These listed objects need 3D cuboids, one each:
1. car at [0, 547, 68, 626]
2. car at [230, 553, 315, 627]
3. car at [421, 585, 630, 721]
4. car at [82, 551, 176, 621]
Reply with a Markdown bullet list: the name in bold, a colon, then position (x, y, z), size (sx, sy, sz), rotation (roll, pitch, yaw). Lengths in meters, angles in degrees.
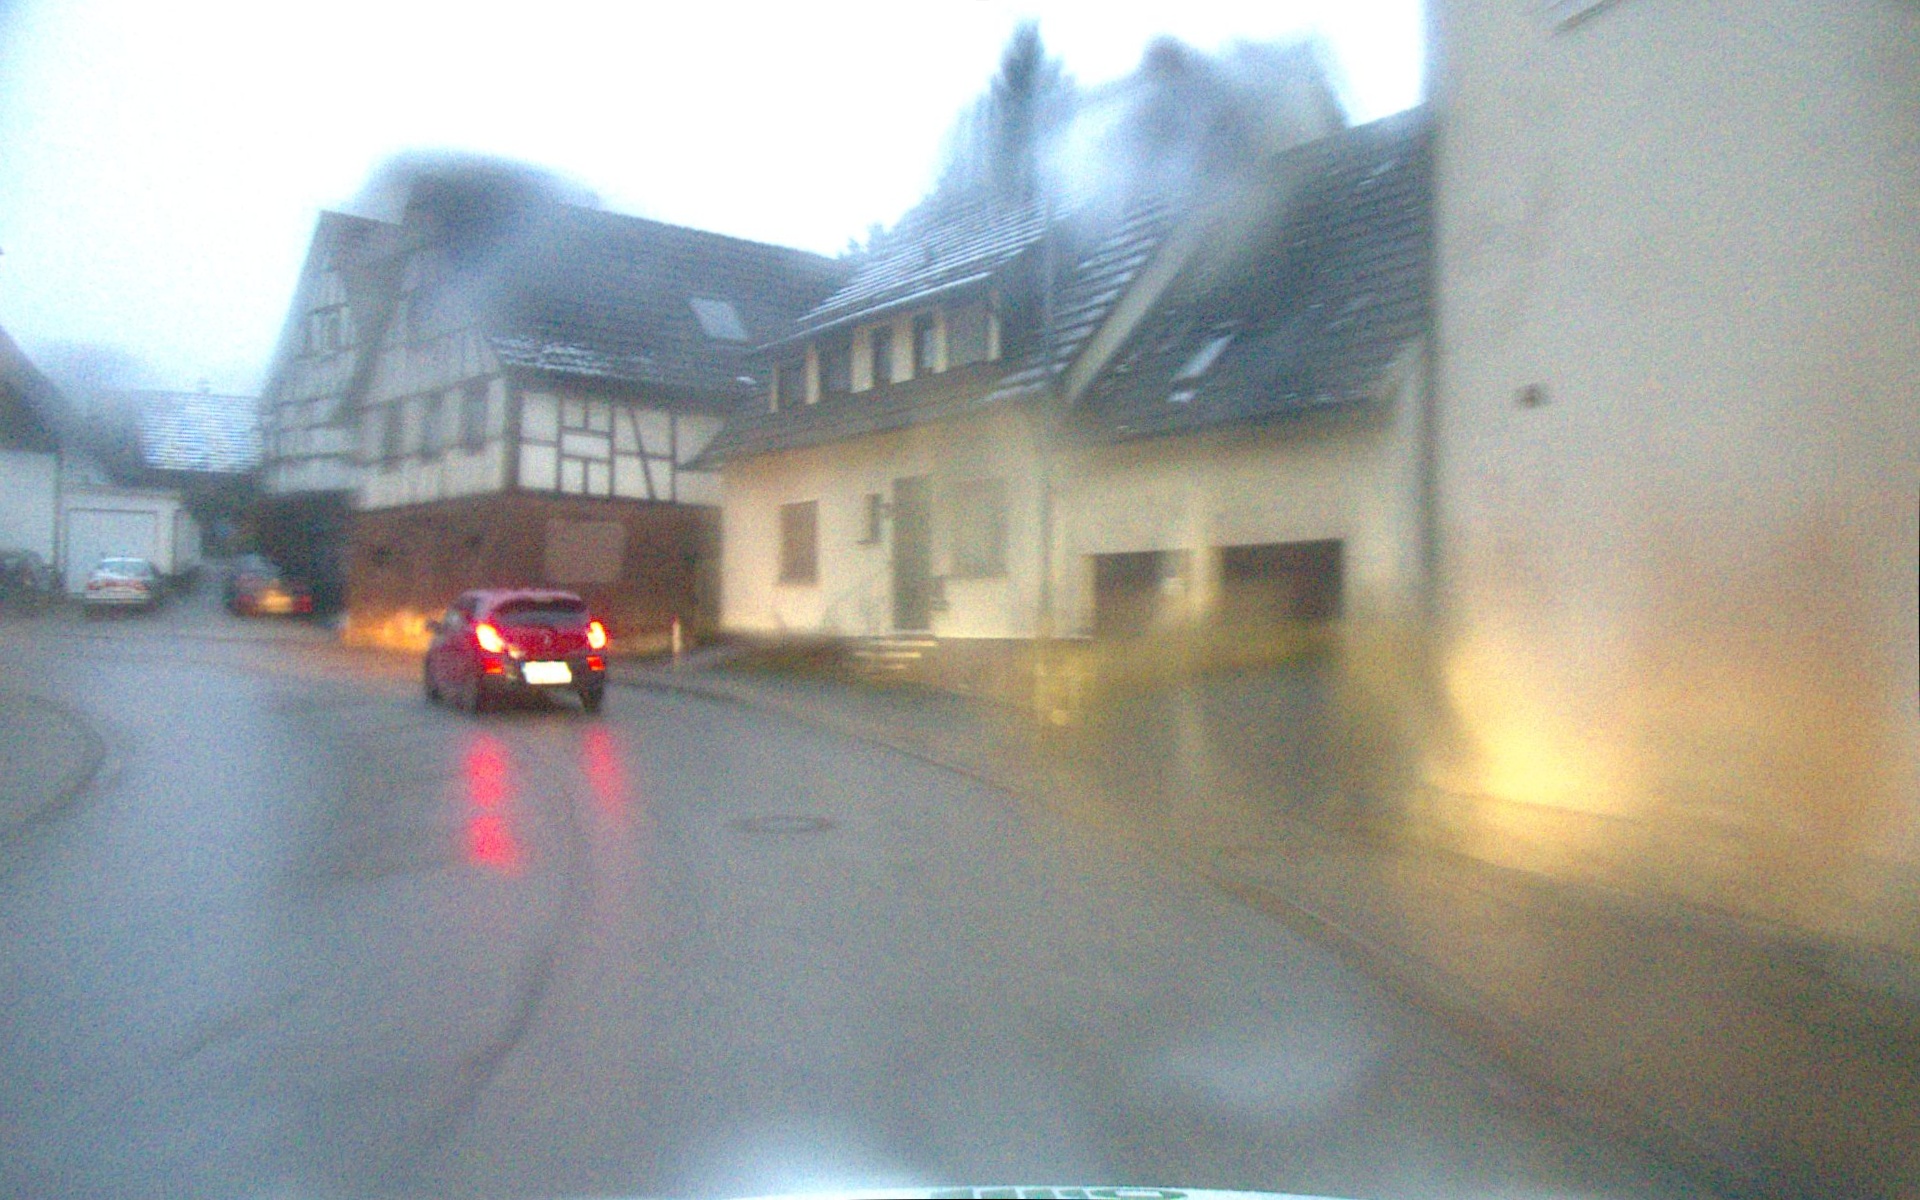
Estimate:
- **car**: position (-24.204, -0.384, 42.501), size (1.825, 1.689, 4.446), rotation (-2, 5, -23)
- **car**: position (-17.640, -0.299, 42.383), size (1.575, 1.541, 3.948), rotation (-2, 6, -29)
- **car**: position (-5.425, 0.592, 20.359), size (1.530, 1.491, 3.660), rotation (2, 0, -31)
- **car**: position (-21.198, -0.407, 42.311), size (1.784, 1.444, 4.013), rotation (-1, 5, -22)
